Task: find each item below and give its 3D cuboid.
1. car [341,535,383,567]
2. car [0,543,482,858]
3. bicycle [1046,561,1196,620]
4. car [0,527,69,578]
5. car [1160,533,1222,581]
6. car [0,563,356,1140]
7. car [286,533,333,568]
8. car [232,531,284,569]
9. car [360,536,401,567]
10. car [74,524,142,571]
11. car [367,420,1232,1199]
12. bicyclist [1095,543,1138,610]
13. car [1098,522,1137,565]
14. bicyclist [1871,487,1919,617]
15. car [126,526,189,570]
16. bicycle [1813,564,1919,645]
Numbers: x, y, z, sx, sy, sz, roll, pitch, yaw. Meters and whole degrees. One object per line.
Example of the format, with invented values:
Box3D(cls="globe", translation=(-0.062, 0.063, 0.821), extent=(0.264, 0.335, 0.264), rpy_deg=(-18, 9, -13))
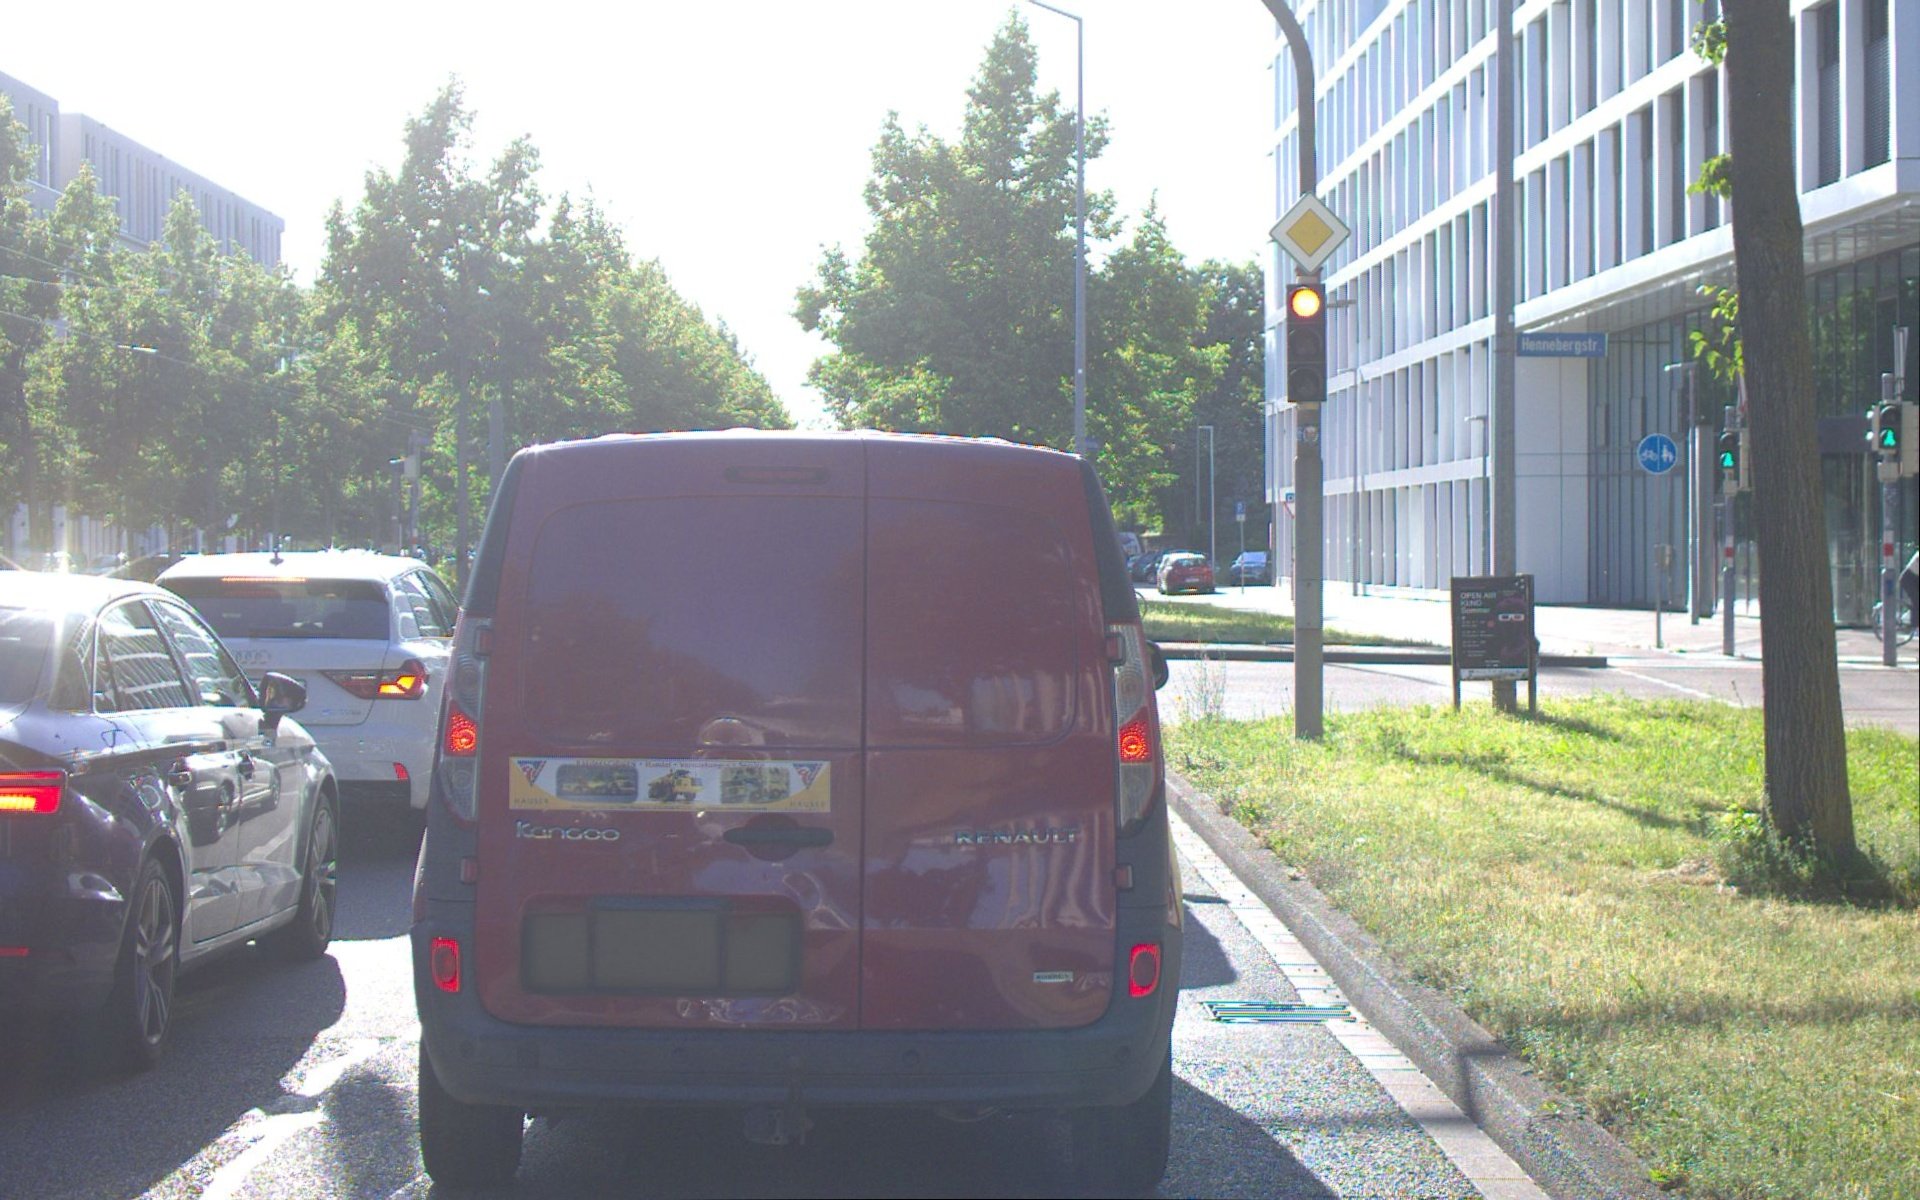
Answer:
Box3D(cls="car", translation=(-37.754, -3.104, 217.243), extent=(1.993, 2.007, 4.000), rpy_deg=(0, 1, -1))
Box3D(cls="car", translation=(-3.599, 0.427, 17.621), extent=(1.803, 1.421, 3.901), rpy_deg=(0, 1, -1))
Box3D(cls="bicycle", translation=(3.073, -0.183, 65.696), extent=(2.837, 1.111, 0.820), rpy_deg=(0, 1, 2))
Box3D(cls="car", translation=(-36.894, -1.908, 136.498), extent=(1.993, 2.007, 4.000), rpy_deg=(0, 1, -1))
Box3D(cls="car", translation=(8.582, -1.623, 127.984), extent=(1.993, 1.776, 4.000), rpy_deg=(0, 1, -1))
Box3D(cls="car", translation=(-3.184, 0.615, 10.867), extent=(1.842, 1.421, 4.339), rpy_deg=(0, 1, -1))
Box3D(cls="car", translation=(-37.673, -2.891, 199.225), extent=(1.993, 2.007, 4.000), rpy_deg=(0, 1, -1))
Box3D(cls="car", translation=(-37.222, -2.677, 182.411), extent=(1.993, 2.007, 4.000), rpy_deg=(0, 1, -1))
Box3D(cls="car", translation=(-37.543, -3.162, 222.867), extent=(1.993, 2.007, 4.000), rpy_deg=(0, 1, -1))
Box3D(cls="car", translation=(-36.974, -2.280, 149.324), extent=(1.993, 2.007, 4.000), rpy_deg=(0, 1, -1))
Box3D(cls="car", translation=(-0.369, 0.468, 9.339), extent=(1.842, 1.774, 4.000), rpy_deg=(0, 1, -1))
Box3D(cls="bicyclist", translation=(2.986, -0.454, 65.682), extent=(0.680, 1.270, 0.821), rpy_deg=(0, 1, -8))
Box3D(cls="car", translation=(9.077, -3.264, 198.326), extent=(1.993, 2.488, 4.987), rpy_deg=(0, 1, -1))
Box3D(cls="bicyclist", translation=(14.316, -0.723, 51.538), extent=(1.001, 1.940, 0.816), rpy_deg=(1, 1, 41))
Box3D(cls="car", translation=(-36.961, -2.386, 158.425), extent=(1.993, 2.007, 4.000), rpy_deg=(0, 1, -1))
Box3D(cls="bicycle", translation=(14.332, 0.061, 51.534), extent=(2.949, 1.186, 0.816), rpy_deg=(1, 1, 41))
